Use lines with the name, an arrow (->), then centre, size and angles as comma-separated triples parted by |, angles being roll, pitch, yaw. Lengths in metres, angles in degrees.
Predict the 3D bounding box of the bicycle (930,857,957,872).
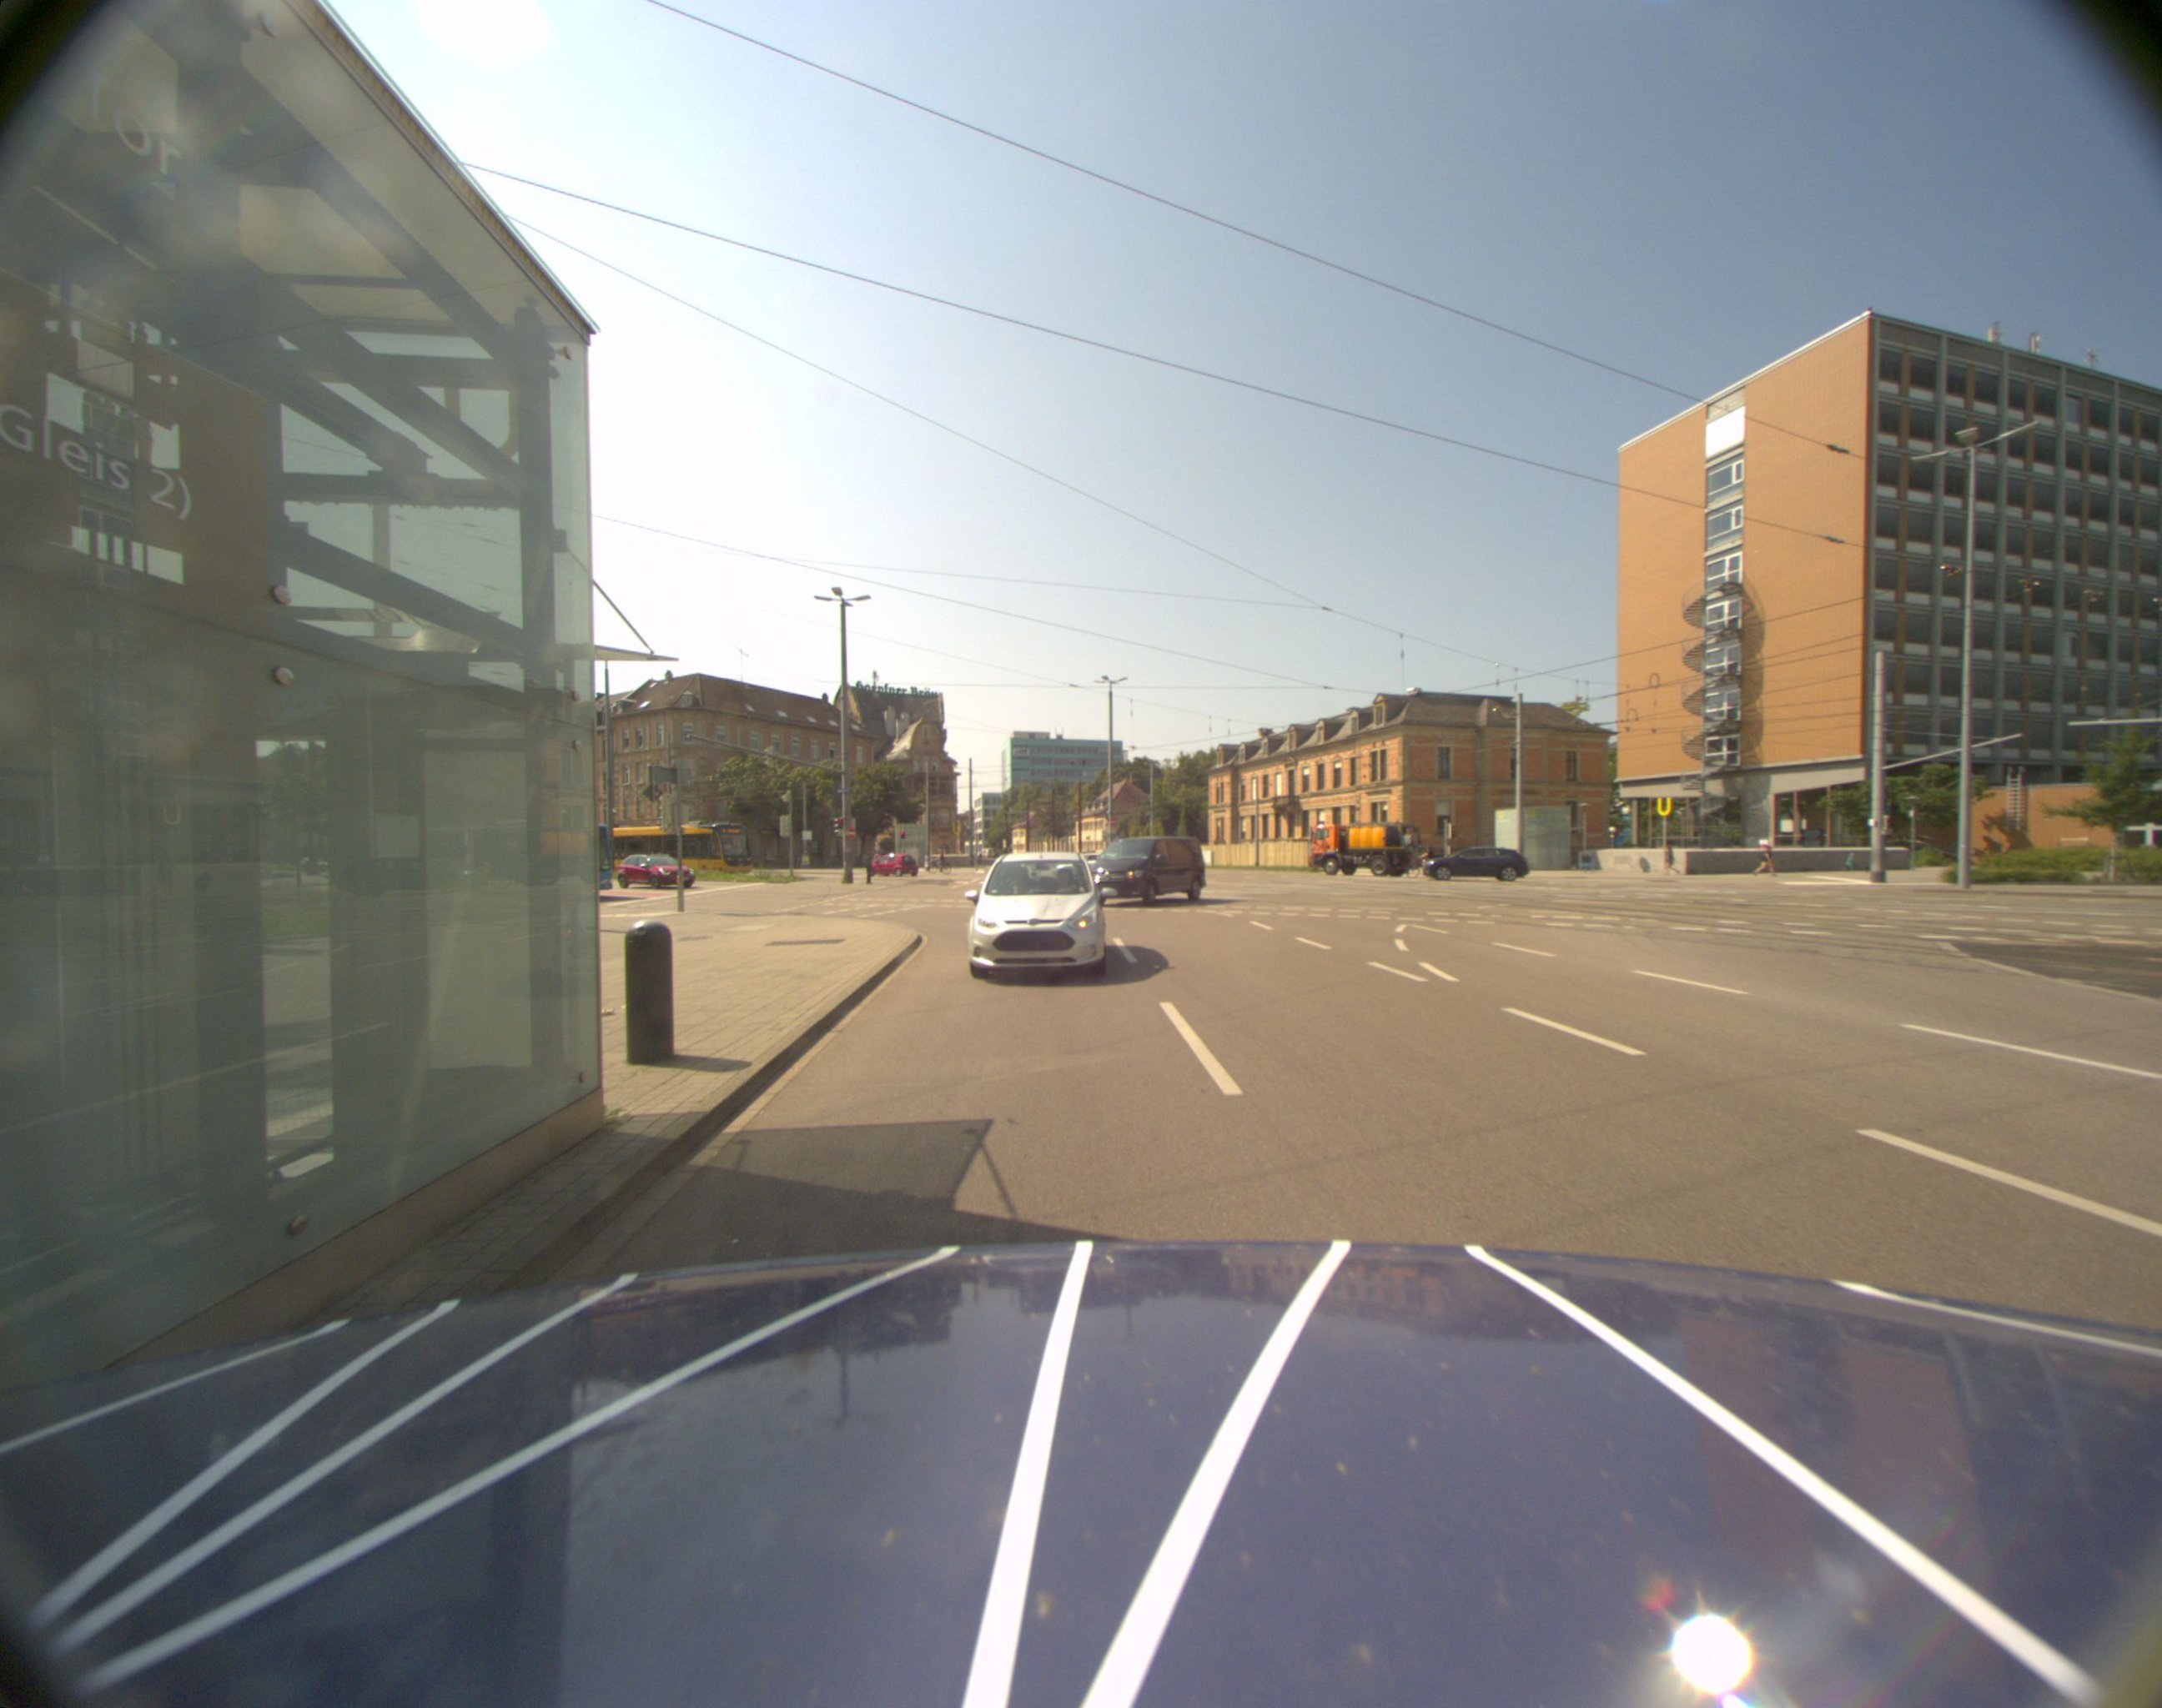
bicycle -> -10.290, 0.765, 56.884 | 2.122, 1.105, 0.442 | 0, 1, 27

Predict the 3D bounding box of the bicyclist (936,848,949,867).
bicyclist -> -10.352, 0.260, 56.871 | 0.642, 1.473, 0.659 | 0, 1, 29

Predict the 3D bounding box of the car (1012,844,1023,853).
car -> -14.534, -1.178, 173.552 | 2.000, 1.892, 3.997 | 0, -1, -11

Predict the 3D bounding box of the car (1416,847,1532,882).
car -> 18.714, 0.485, 36.400 | 4.689, 1.631, 2.003 | 0, 1, 19

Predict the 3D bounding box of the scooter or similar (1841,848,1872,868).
scooter or similar -> 43.636, 0.225, 42.740 | 1.143, 1.150, 0.443 | 0, 1, 12

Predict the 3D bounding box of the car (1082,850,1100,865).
car -> 1.365, 0.550, 108.936 | 2.000, 2.001, 3.998 | 0, -1, -8

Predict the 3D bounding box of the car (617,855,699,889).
car -> -19.526, 0.800, 35.047 | 3.761, 1.463, 1.633 | -1, 1, 32

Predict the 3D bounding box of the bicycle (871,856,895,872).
bicycle -> -14.344, 0.710, 55.030 | 1.850, 1.105, 0.714 | 0, 1, 36

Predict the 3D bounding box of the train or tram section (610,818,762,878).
train or tram section -> -25.896, -0.381, 49.460 | 12.183, 3.540, 2.600 | 0, 1, 30

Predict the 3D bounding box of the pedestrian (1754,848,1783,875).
pedestrian -> 36.693, 0.398, 40.569 | 0.848, 1.387, 0.787 | -1, 1, 0

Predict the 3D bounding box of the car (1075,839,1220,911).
car -> 2.119, 0.518, 22.666 | 1.895, 1.919, 4.895 | 0, 1, 39

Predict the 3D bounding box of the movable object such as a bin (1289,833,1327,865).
movable object such as a bin -> 19.714, -0.422, 66.086 | 1.817, 2.656, 4.454 | 0, 1, -3

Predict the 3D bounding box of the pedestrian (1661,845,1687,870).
pedestrian -> 33.336, 0.192, 42.736 | 0.848, 1.387, 0.787 | -1, 1, 0

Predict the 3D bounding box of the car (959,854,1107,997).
car -> -0.548, 0.833, 10.990 | 1.692, 1.586, 4.360 | -1, 1, 0

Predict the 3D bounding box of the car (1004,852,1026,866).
car -> -6.217, 0.454, 71.268 | 1.588, 1.280, 3.724 | 0, -1, -12

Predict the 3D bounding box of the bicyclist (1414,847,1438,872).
bicyclist -> 18.257, 0.284, 40.173 | 1.103, 1.259, 0.858 | 0, 1, 21

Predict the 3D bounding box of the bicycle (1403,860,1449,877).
bicycle -> 18.172, 0.762, 40.096 | 2.165, 0.894, 0.642 | 0, 1, 21

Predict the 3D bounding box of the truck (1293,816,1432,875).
truck -> 16.702, -0.392, 45.488 | 3.049, 3.209, 7.171 | 0, -1, -41

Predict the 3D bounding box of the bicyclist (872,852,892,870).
bicyclist -> -14.426, 0.500, 55.062 | 0.862, 1.227, 1.104 | 0, 1, 36

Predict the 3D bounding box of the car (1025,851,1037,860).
car -> -10.272, 0.267, 156.354 | 2.000, 1.673, 3.997 | 0, -1, -11

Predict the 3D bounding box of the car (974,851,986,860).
car -> -15.506, 0.238, 116.319 | 1.376, 1.389, 3.252 | 0, -1, -16

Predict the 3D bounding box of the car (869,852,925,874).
car -> -11.990, 0.574, 49.434 | 3.350, 1.400, 1.520 | 0, 1, 28

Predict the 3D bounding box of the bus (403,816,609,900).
bus -> -24.604, 0.146, 32.157 | 12.048, 3.047, 2.739 | 0, 1, 32

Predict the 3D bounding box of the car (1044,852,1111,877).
car -> -0.200, 0.593, 43.658 | 3.499, 1.331, 1.520 | 0, 1, 24

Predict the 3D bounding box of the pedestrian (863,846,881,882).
pedestrian -> -9.918, 0.472, 36.026 | 0.719, 1.677, 0.804 | -3, 0, -15

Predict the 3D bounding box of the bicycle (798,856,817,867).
bicycle -> -23.807, 0.669, 66.192 | 0.461, 0.952, 1.791 | 0, 1, 24
